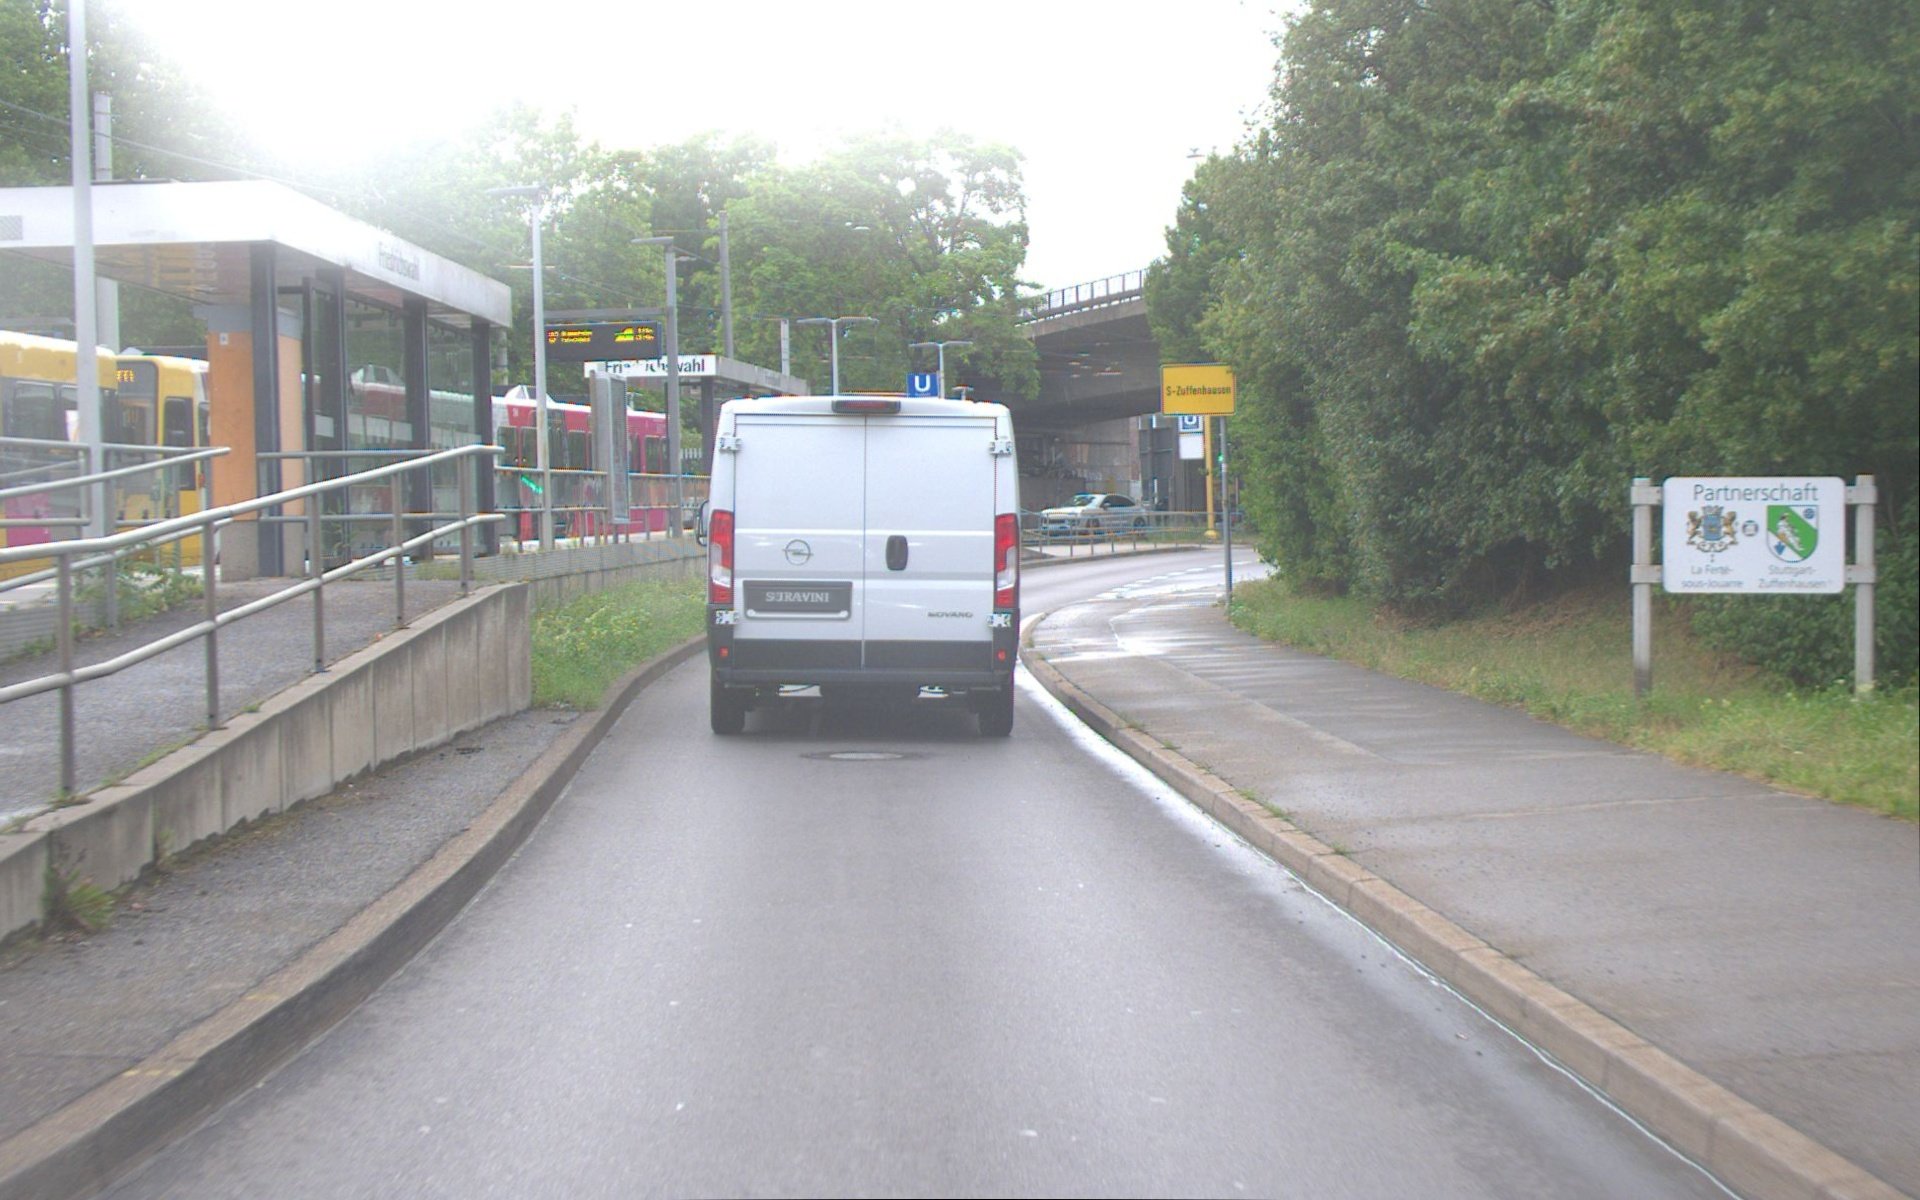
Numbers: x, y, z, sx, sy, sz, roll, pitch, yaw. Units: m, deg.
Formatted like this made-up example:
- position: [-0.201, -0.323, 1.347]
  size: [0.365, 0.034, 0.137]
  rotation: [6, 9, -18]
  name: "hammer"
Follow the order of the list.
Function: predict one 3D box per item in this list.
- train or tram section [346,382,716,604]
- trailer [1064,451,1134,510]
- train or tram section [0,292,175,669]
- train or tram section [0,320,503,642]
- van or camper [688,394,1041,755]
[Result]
- position: [-8.457, -2.121, 71.799]
  size: [2.869, 3.947, 19.326]
  rotation: [1, 1, 7]
  name: "train or tram section"
- position: [6.515, -5.612, 161.909]
  size: [1.993, 2.716, 4.125]
  rotation: [0, 1, -18]
  name: "trailer"
- position: [-11.561, -1.222, 33.195]
  size: [2.868, 3.940, 19.331]
  rotation: [1, 1, 2]
  name: "train or tram section"
- position: [-10.518, -1.683, 52.483]
  size: [2.868, 3.957, 19.328]
  rotation: [1, 1, 5]
  name: "train or tram section"
- position: [-0.772, -0.210, 24.219]
  size: [2.198, 2.245, 4.685]
  rotation: [1, 1, -4]
  name: "van or camper"
